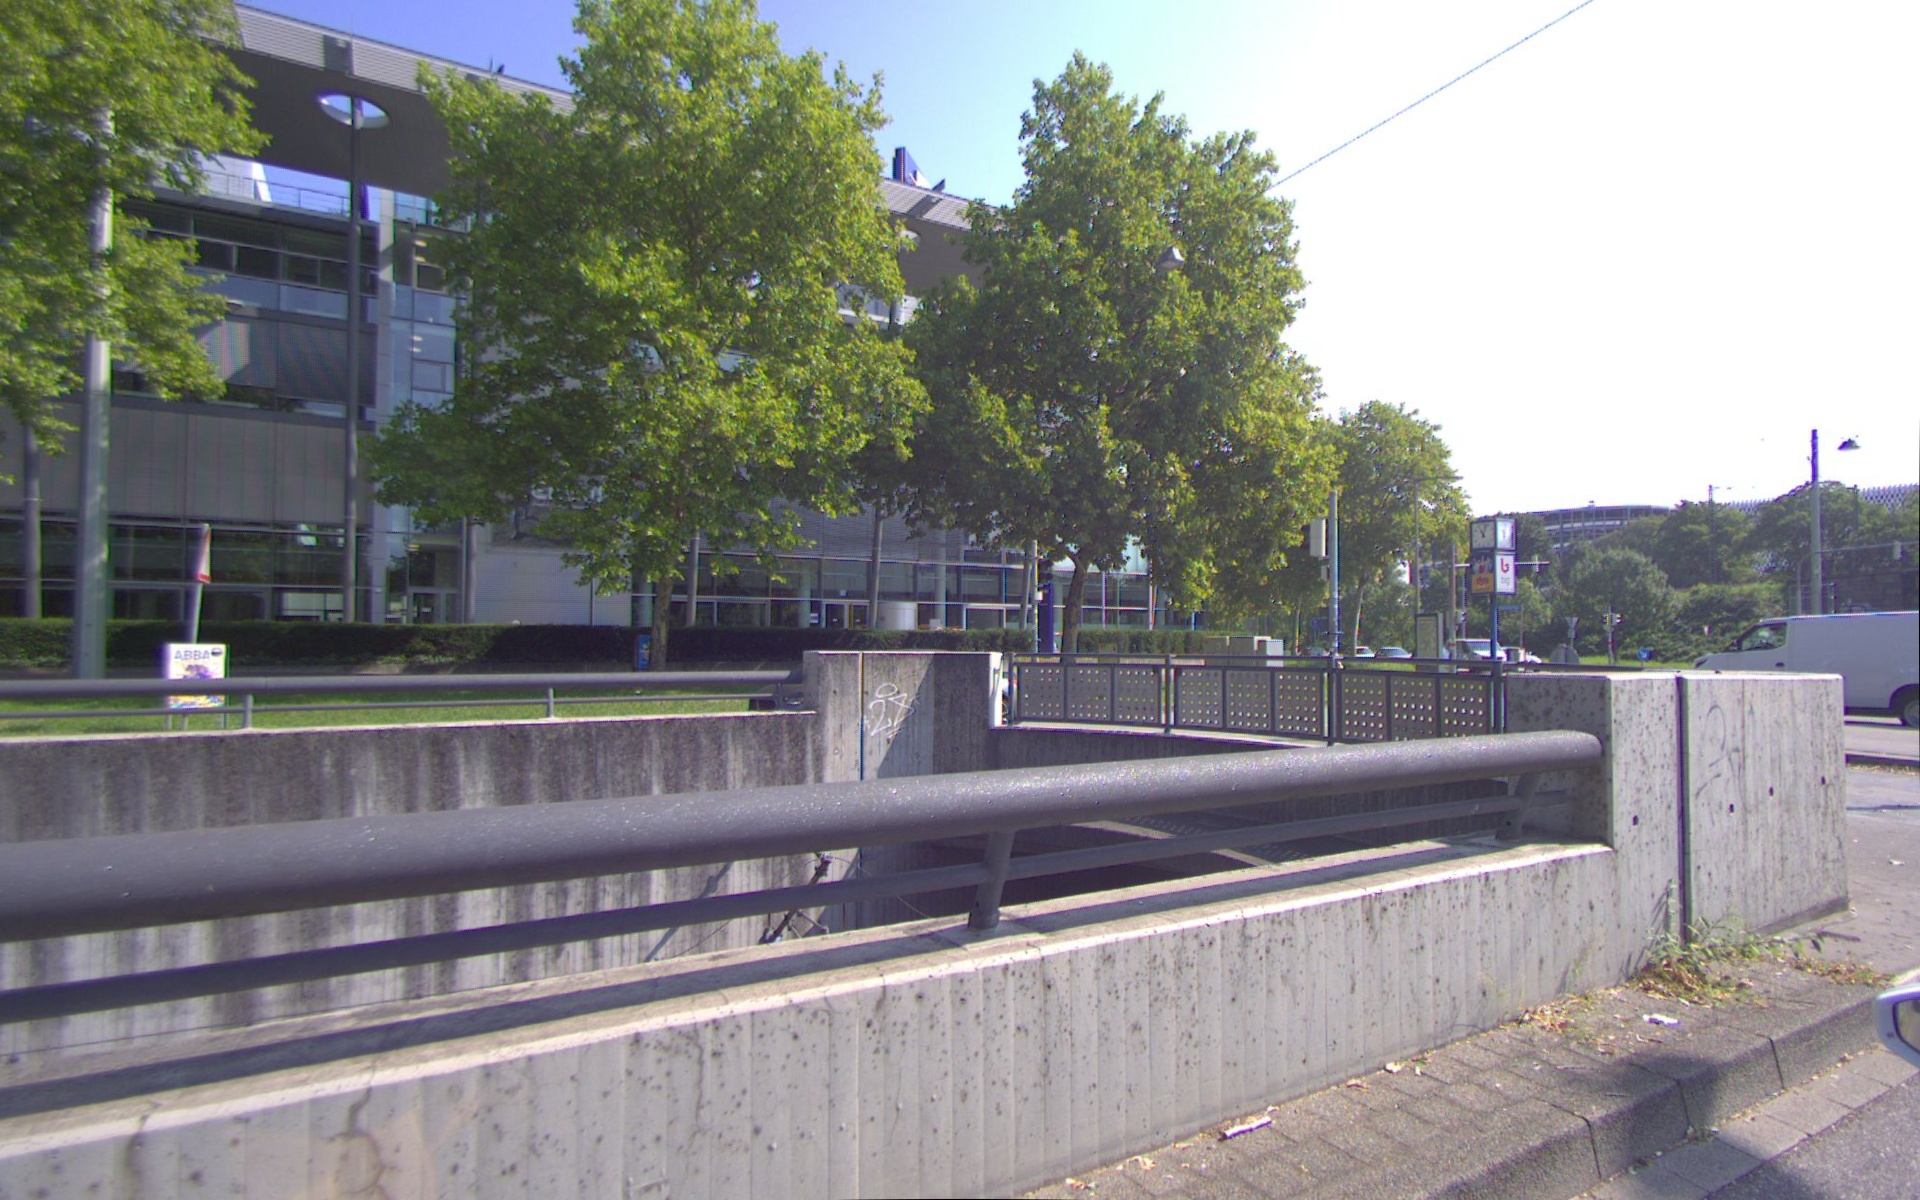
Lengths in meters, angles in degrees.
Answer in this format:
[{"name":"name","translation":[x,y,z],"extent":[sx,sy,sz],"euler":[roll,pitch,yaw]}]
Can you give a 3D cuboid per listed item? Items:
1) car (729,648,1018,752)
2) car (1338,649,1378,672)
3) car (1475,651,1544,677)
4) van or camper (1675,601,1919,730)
[{"name":"car","translation":[-1.199,1.363,14.540],"extent":[3.853,1.237,1.647],"euler":[2,0,-33]},{"name":"car","translation":[27.755,4.219,70.147],"extent":[1.639,1.555,3.734],"euler":[-2,-3,6]},{"name":"car","translation":[32.841,3.799,60.187],"extent":[1.804,1.462,4.609],"euler":[-2,-3,4]},{"name":"van or camper","translation":[15.297,1.032,17.189],"extent":[1.816,1.973,4.932],"euler":[-1,0,-15]}]
